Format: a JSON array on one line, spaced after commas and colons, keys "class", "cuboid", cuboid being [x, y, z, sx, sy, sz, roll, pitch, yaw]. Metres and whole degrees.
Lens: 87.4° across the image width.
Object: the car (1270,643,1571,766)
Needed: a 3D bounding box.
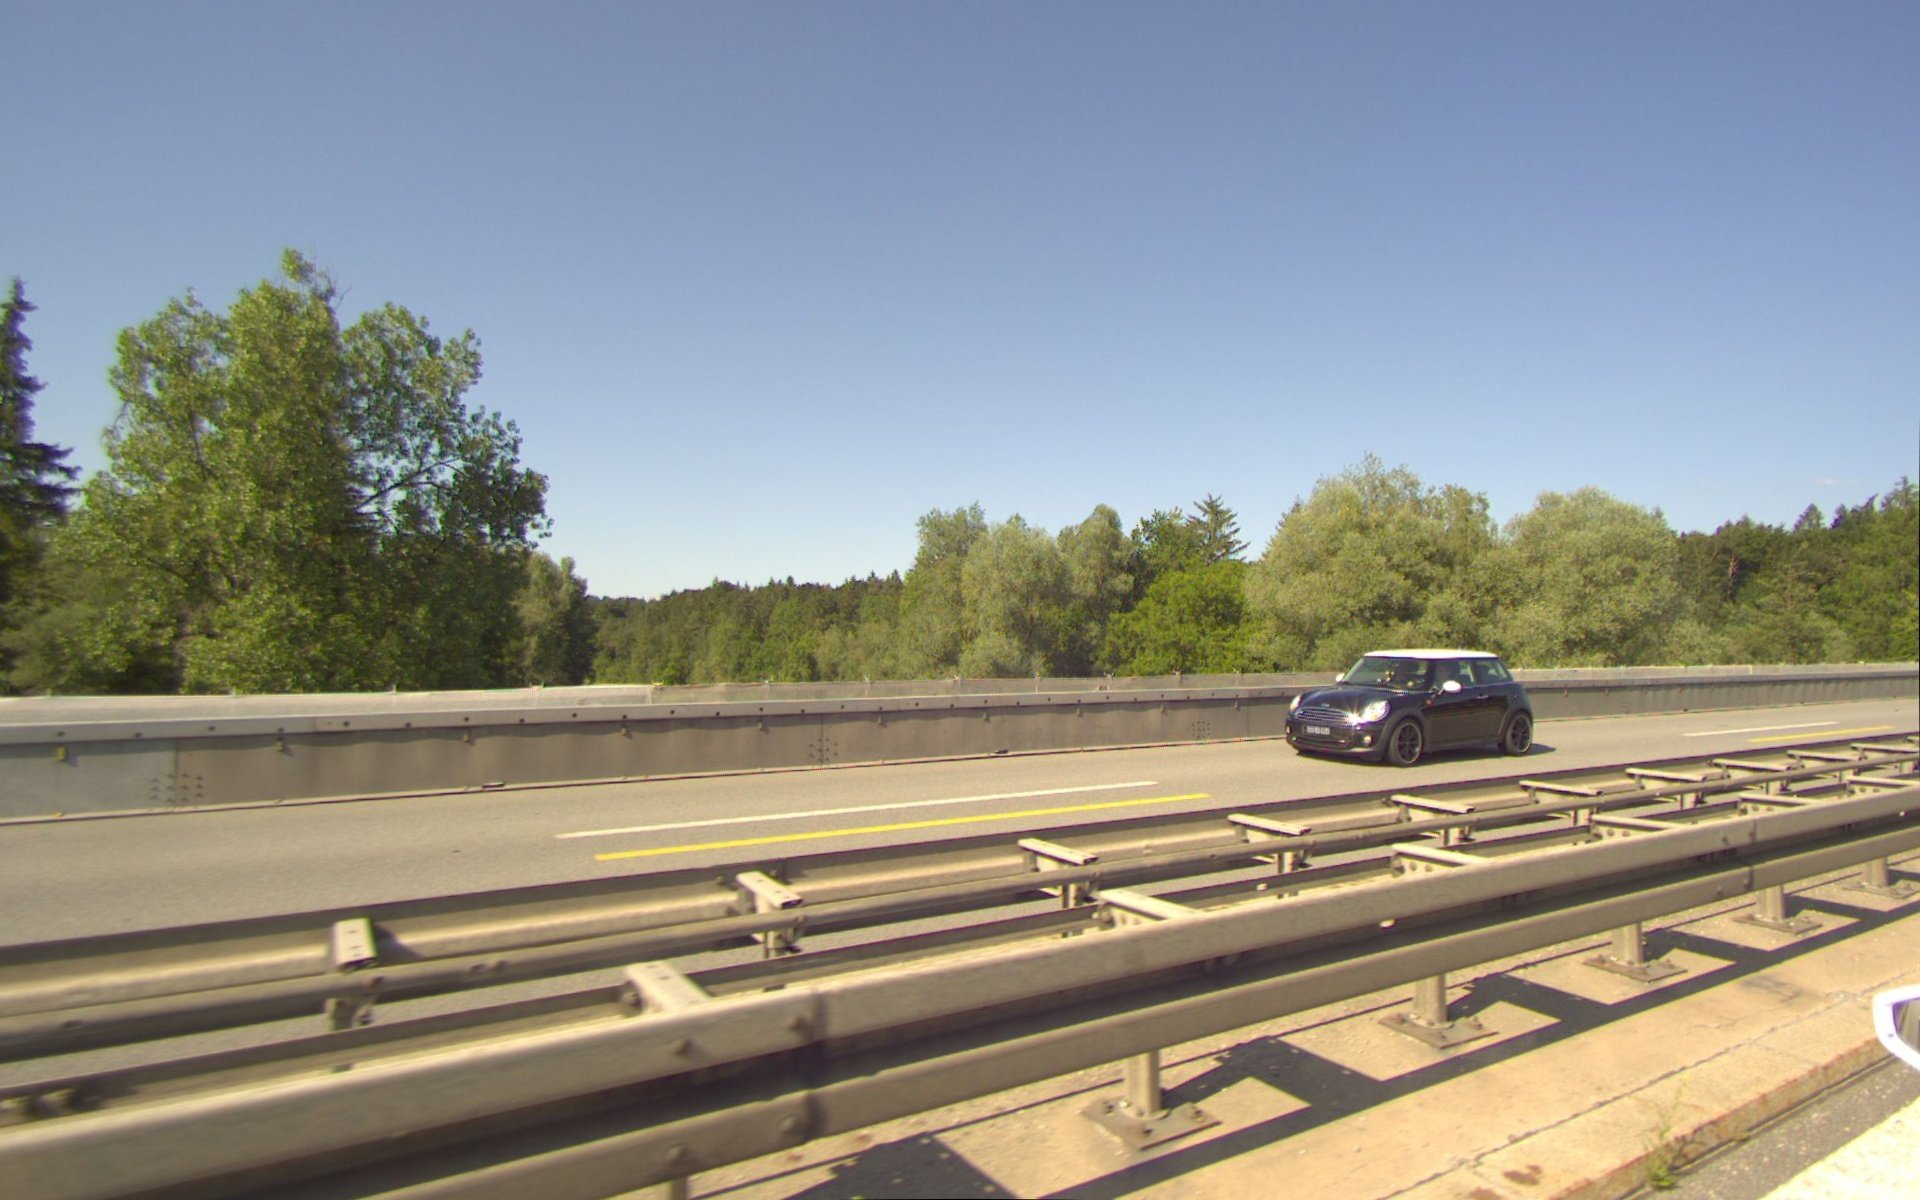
[{"class": "car", "cuboid": [6.299, 1.310, 13.623, 4.144, 1.411, 1.674, 1, -2, -31]}]
